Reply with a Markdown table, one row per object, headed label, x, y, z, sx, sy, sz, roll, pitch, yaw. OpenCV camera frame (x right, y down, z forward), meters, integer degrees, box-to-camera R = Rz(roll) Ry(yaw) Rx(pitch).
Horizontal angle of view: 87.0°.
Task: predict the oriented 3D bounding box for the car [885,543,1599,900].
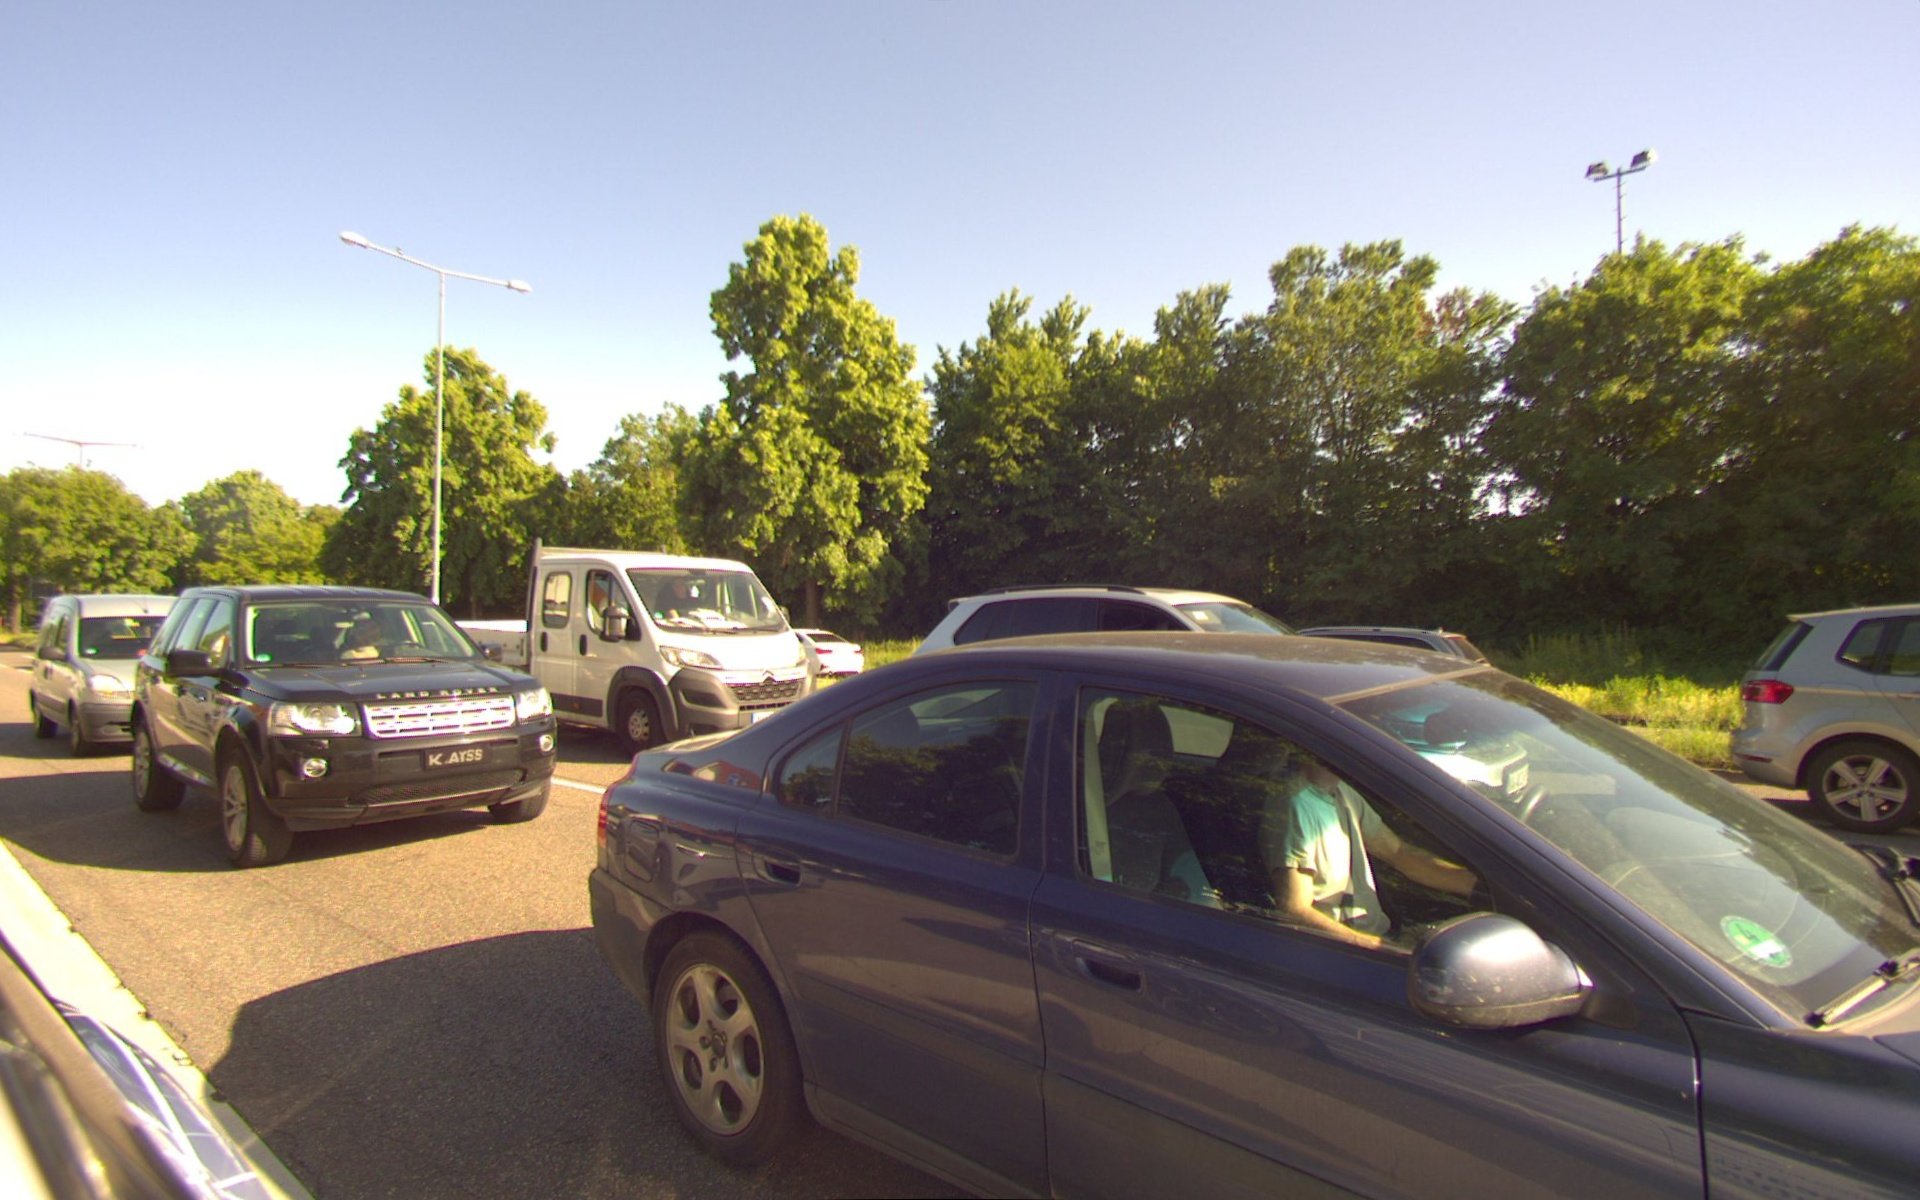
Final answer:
| label | x | y | z | sx | sy | sz | roll | pitch | yaw |
| --- | --- | --- | --- | --- | --- | --- | --- | --- | --- |
| car | 1.729 | 0.662 | 7.120 | 4.422 | 1.723 | 1.973 | -2 | -3 | 41 |

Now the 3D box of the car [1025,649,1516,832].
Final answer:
| label | x | y | z | sx | sy | sz | roll | pitch | yaw |
| --- | --- | --- | --- | --- | --- | --- | --- | --- | --- |
| car | 3.030 | 1.262 | 10.536 | 4.550 | 1.440 | 1.811 | -2 | -3 | 41 |

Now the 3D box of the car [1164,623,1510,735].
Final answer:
| label | x | y | z | sx | sy | sz | roll | pitch | yaw |
| --- | --- | --- | --- | --- | --- | --- | --- | --- | --- |
| car | 5.525 | 1.092 | 15.257 | 4.613 | 1.444 | 1.668 | -2 | -3 | 41 |

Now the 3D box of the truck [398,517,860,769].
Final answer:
| label | x | y | z | sx | sy | sz | roll | pitch | yaw |
| --- | --- | --- | --- | --- | --- | --- | --- | --- | --- |
| truck | -4.382 | 0.435 | 12.429 | 6.838 | 2.337 | 2.158 | -1 | -1 | 40 |

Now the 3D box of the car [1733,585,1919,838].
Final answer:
| label | x | y | z | sx | sy | sz | roll | pitch | yaw |
| --- | --- | --- | --- | --- | --- | --- | --- | --- | --- |
| car | 7.630 | 0.717 | 6.412 | 4.206 | 1.623 | 1.810 | -2 | -3 | 42 |

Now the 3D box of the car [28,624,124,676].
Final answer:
| label | x | y | z | sx | sy | sz | roll | pitch | yaw |
| --- | --- | --- | --- | --- | --- | --- | --- | --- | --- |
| car | -27.269 | 1.492 | 31.183 | 3.929 | 1.486 | 1.682 | -2 | -2 | 41 |

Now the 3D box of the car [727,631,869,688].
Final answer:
| label | x | y | z | sx | sy | sz | roll | pitch | yaw |
| --- | --- | --- | --- | --- | --- | --- | --- | --- | --- |
| car | -4.560 | 1.597 | 28.157 | 4.220 | 1.467 | 1.623 | -2 | -3 | 42 |

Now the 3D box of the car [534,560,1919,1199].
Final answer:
| label | x | y | z | sx | sy | sz | roll | pitch | yaw |
| --- | --- | --- | --- | --- | --- | --- | --- | --- | --- |
| car | 0.891 | 0.690 | 2.423 | 4.454 | 1.463 | 1.757 | -1 | 0 | 41 |

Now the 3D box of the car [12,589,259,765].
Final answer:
| label | x | y | z | sx | sy | sz | roll | pitch | yaw |
| --- | --- | --- | --- | --- | --- | --- | --- | --- | --- |
| car | -10.053 | 0.794 | 12.220 | 4.384 | 1.765 | 1.611 | -1 | -1 | 41 |

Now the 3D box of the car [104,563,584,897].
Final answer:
| label | x | y | z | sx | sy | sz | roll | pitch | yaw |
| --- | --- | --- | --- | --- | --- | --- | --- | --- | --- |
| car | -4.696 | 0.700 | 7.419 | 4.384 | 1.744 | 1.793 | -1 | -1 | 41 |
